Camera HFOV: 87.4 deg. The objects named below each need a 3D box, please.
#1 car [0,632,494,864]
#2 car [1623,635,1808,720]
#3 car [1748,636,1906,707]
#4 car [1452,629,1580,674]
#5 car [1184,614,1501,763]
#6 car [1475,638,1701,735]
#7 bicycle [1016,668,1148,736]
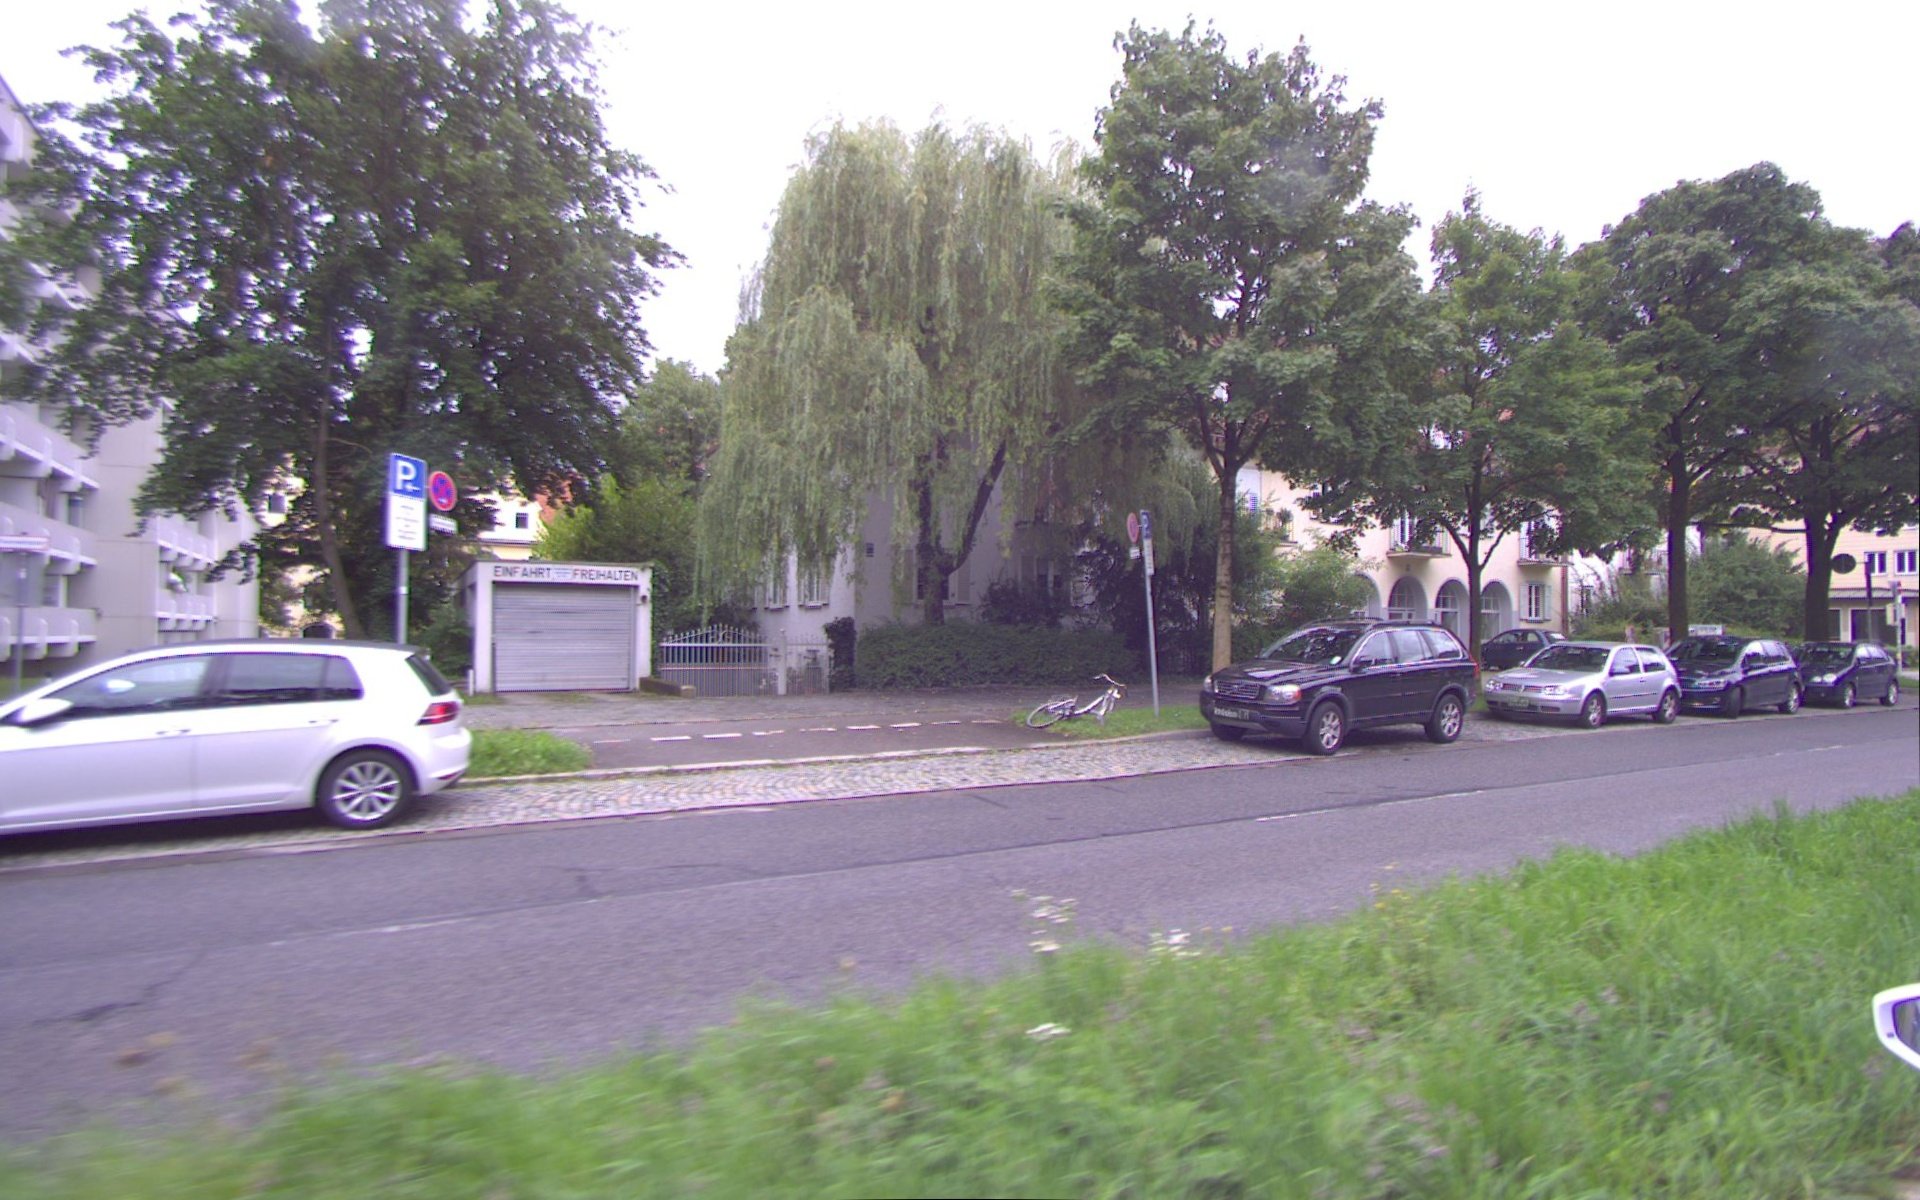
[{"bbox_3d":[-6.070,1.028,7.865,4.268,1.462,1.666,1,1,-30],"label":"car"},{"bbox_3d":[15.487,1.513,20.529,4.252,1.583,1.657,1,-2,-33],"label":"car"},{"bbox_3d":[20.387,1.633,23.602,3.790,1.469,1.557,1,1,-29],"label":"car"},{"bbox_3d":[19.421,1.754,35.204,1.653,1.481,3.614,1,-2,-32],"label":"car"},{"bbox_3d":[5.705,1.156,14.703,5.006,1.787,1.785,1,1,-34],"label":"car"},{"bbox_3d":[11.425,1.484,18.207,4.324,1.464,1.658,1,1,-31],"label":"car"},{"bbox_3d":[1.816,1.506,15.120,1.387,0.840,1.445,1,0,-30],"label":"bicycle"}]
